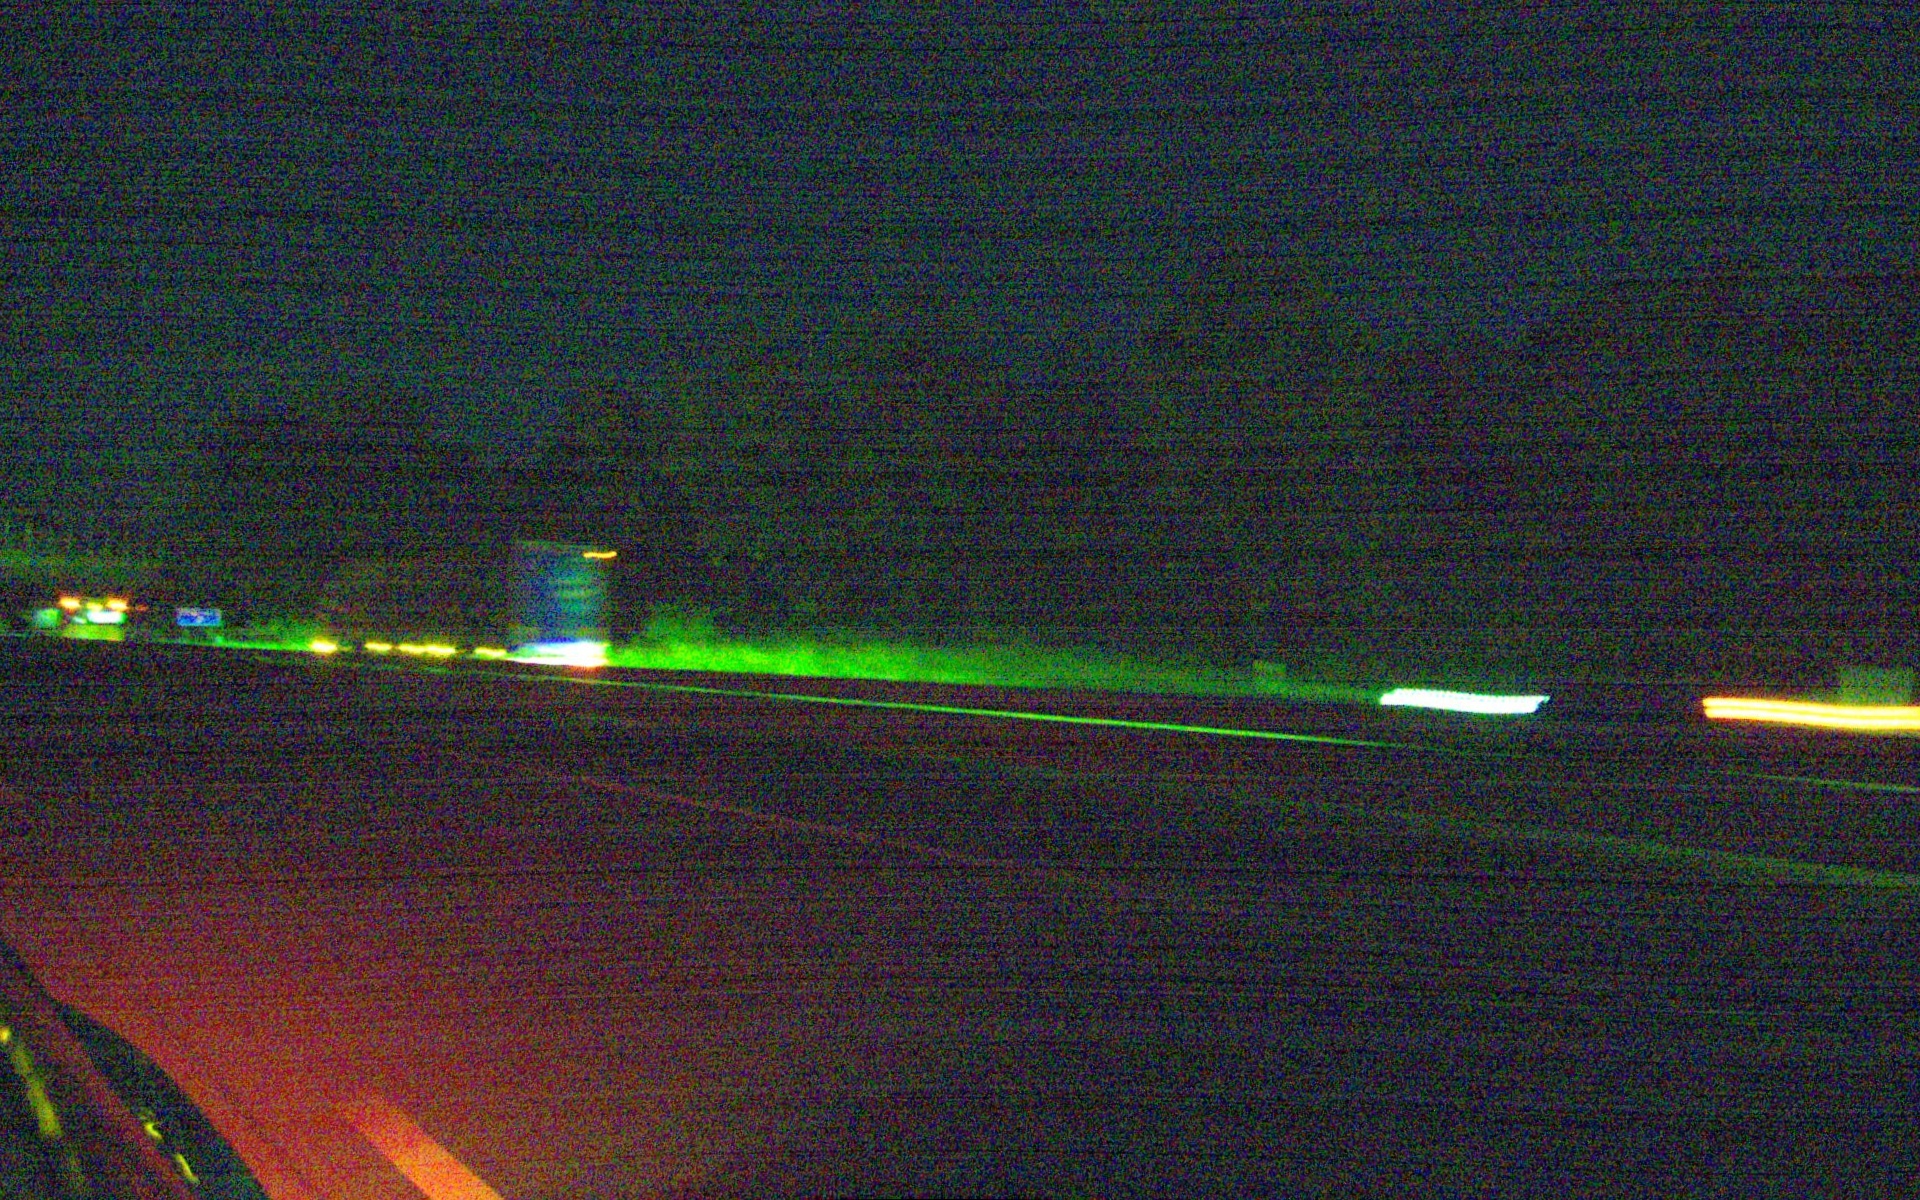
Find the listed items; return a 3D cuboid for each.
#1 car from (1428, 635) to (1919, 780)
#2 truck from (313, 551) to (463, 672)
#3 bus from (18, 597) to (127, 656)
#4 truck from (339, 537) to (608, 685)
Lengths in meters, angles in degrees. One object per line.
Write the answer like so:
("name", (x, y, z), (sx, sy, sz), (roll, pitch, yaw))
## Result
("car", (7.883, 1.058, 11.471), (4.295, 1.281, 1.972), (-1, -2, 43))
("truck", (-21.643, 0.456, 38.150), (6.669, 4.175, 2.745), (-1, -2, 40))
("bus", (-51.716, 1.505, 58.801), (12.505, 3.134, 2.758), (-1, -2, 40))
("truck", (-16.784, 0.417, 33.969), (13.899, 4.159, 2.718), (-1, -2, 41))
